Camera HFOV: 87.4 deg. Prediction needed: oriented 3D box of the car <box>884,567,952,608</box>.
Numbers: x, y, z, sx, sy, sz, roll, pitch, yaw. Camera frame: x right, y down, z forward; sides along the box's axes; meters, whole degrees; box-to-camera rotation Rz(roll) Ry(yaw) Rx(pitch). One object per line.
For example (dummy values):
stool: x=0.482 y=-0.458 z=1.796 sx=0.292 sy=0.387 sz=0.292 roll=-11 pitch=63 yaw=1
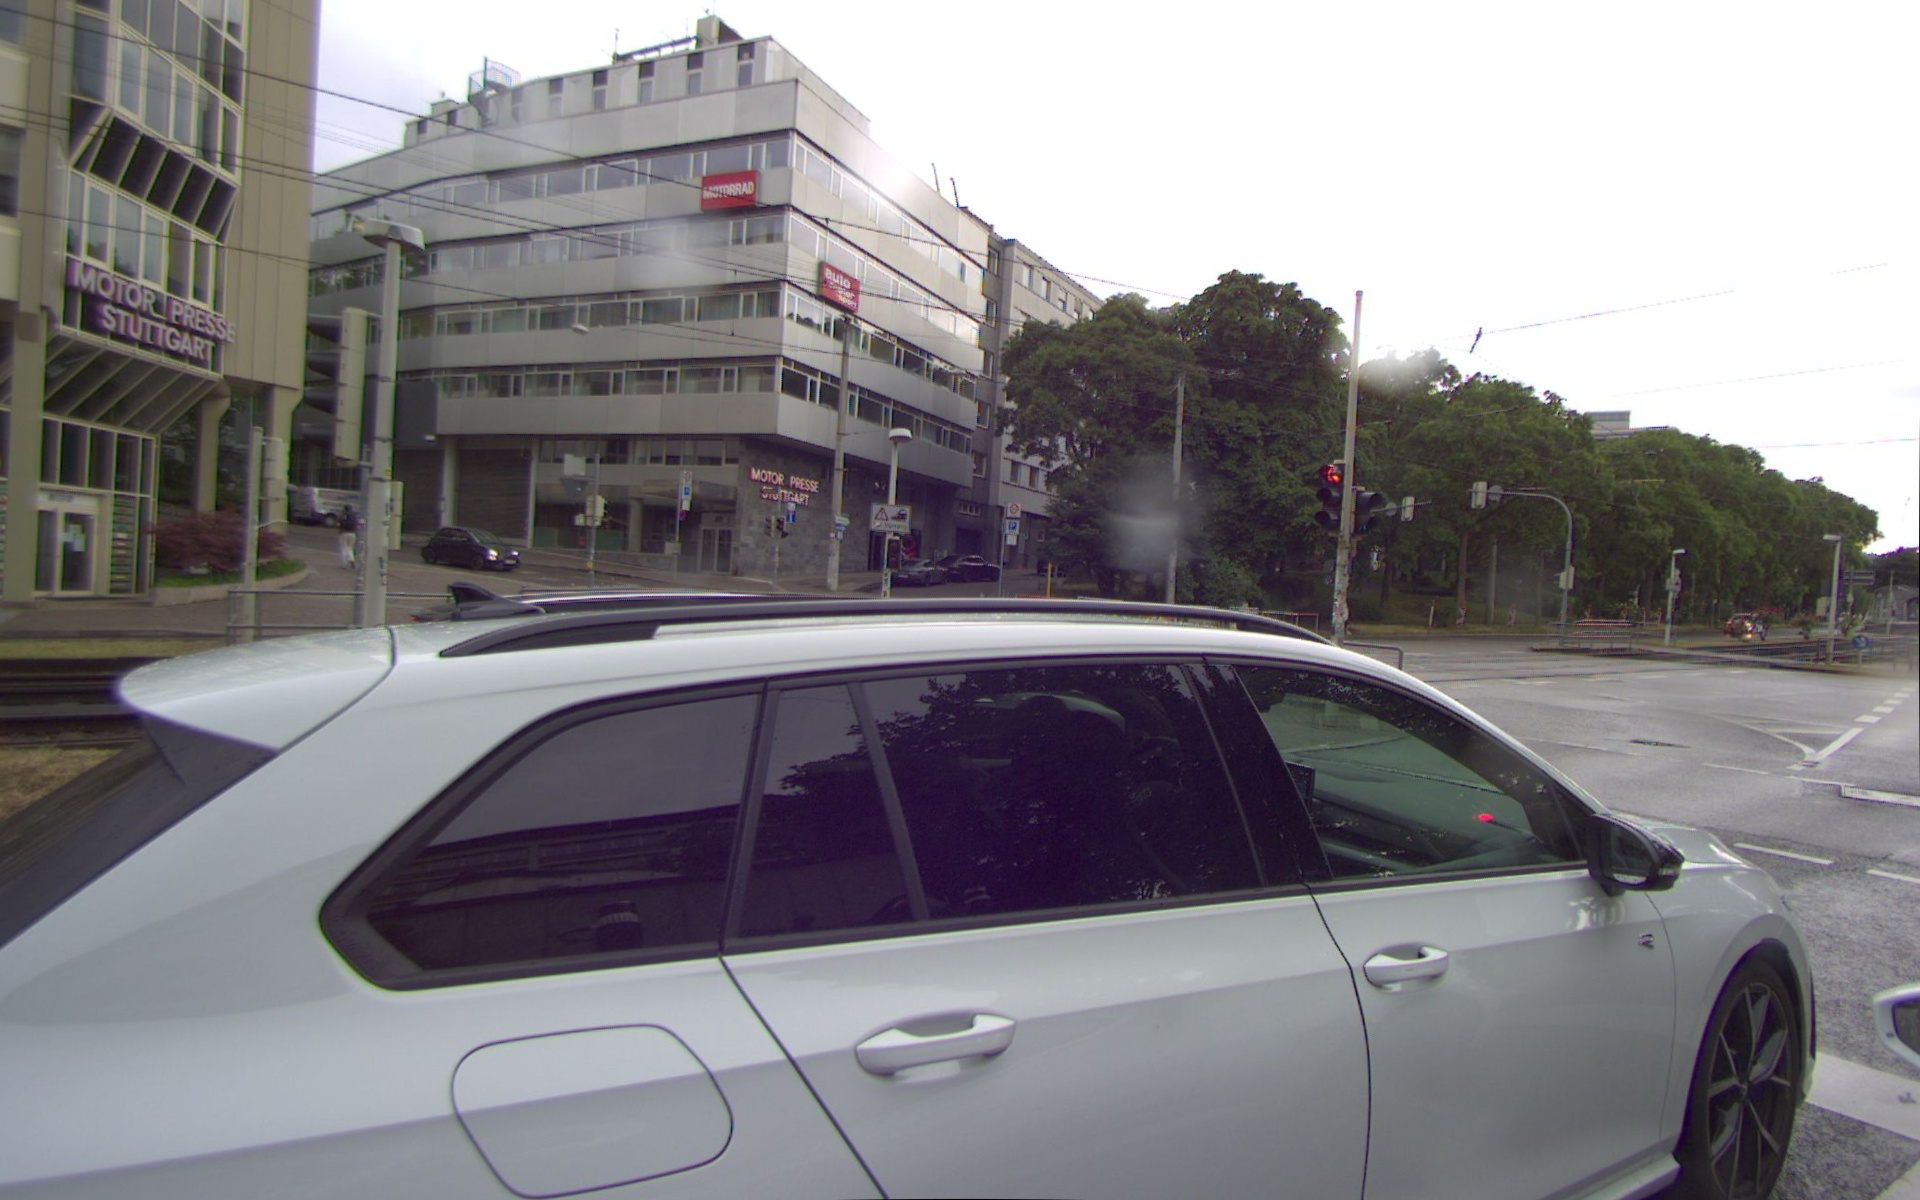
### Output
car: x=-2.075 y=-0.641 z=50.749 sx=1.961 sy=1.818 sz=4.000 roll=5 pitch=2 yaw=19

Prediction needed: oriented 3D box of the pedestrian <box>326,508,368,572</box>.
pedestrian: x=-17.876 y=-1.744 z=29.300 sx=0.630 sy=1.811 sz=0.808 roll=6 pitch=3 yaw=36

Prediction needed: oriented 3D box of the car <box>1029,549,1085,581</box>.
car: x=6.423 y=-2.290 z=65.895 sx=1.964 sy=1.818 sz=4.202 roll=6 pitch=2 yaw=30

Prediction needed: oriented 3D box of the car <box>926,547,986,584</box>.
car: x=-0.170 y=-1.949 z=55.610 sx=1.961 sy=1.818 sz=3.998 roll=5 pitch=5 yaw=19

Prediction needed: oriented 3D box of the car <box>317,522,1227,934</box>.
car: x=-0.875 y=0.446 z=5.678 sx=4.592 sy=1.487 sz=1.982 roll=1 pitch=3 yaw=-32

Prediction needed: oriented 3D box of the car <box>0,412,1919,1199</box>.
car: x=0.419 y=0.676 z=2.432 sx=4.203 sy=1.597 sz=1.670 roll=2 pitch=1 yaw=-31

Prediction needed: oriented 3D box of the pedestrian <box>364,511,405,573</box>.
pedestrian: x=-17.384 y=-1.746 z=30.336 sx=0.630 sy=1.811 sz=0.808 roll=6 pitch=3 yaw=36

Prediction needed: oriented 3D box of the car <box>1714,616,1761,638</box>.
car: x=58.664 y=2.035 z=75.782 sx=3.967 sy=1.539 sz=1.977 roll=1 pitch=2 yaw=-40

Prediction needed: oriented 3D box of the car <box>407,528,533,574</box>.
car: x=-18.180 y=-1.811 z=37.313 sx=3.920 sy=1.383 sz=1.830 roll=5 pitch=2 yaw=16

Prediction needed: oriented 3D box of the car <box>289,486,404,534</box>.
car: x=-32.099 y=-4.689 z=52.709 sx=1.963 sy=2.040 sz=4.831 roll=5 pitch=2 yaw=26
